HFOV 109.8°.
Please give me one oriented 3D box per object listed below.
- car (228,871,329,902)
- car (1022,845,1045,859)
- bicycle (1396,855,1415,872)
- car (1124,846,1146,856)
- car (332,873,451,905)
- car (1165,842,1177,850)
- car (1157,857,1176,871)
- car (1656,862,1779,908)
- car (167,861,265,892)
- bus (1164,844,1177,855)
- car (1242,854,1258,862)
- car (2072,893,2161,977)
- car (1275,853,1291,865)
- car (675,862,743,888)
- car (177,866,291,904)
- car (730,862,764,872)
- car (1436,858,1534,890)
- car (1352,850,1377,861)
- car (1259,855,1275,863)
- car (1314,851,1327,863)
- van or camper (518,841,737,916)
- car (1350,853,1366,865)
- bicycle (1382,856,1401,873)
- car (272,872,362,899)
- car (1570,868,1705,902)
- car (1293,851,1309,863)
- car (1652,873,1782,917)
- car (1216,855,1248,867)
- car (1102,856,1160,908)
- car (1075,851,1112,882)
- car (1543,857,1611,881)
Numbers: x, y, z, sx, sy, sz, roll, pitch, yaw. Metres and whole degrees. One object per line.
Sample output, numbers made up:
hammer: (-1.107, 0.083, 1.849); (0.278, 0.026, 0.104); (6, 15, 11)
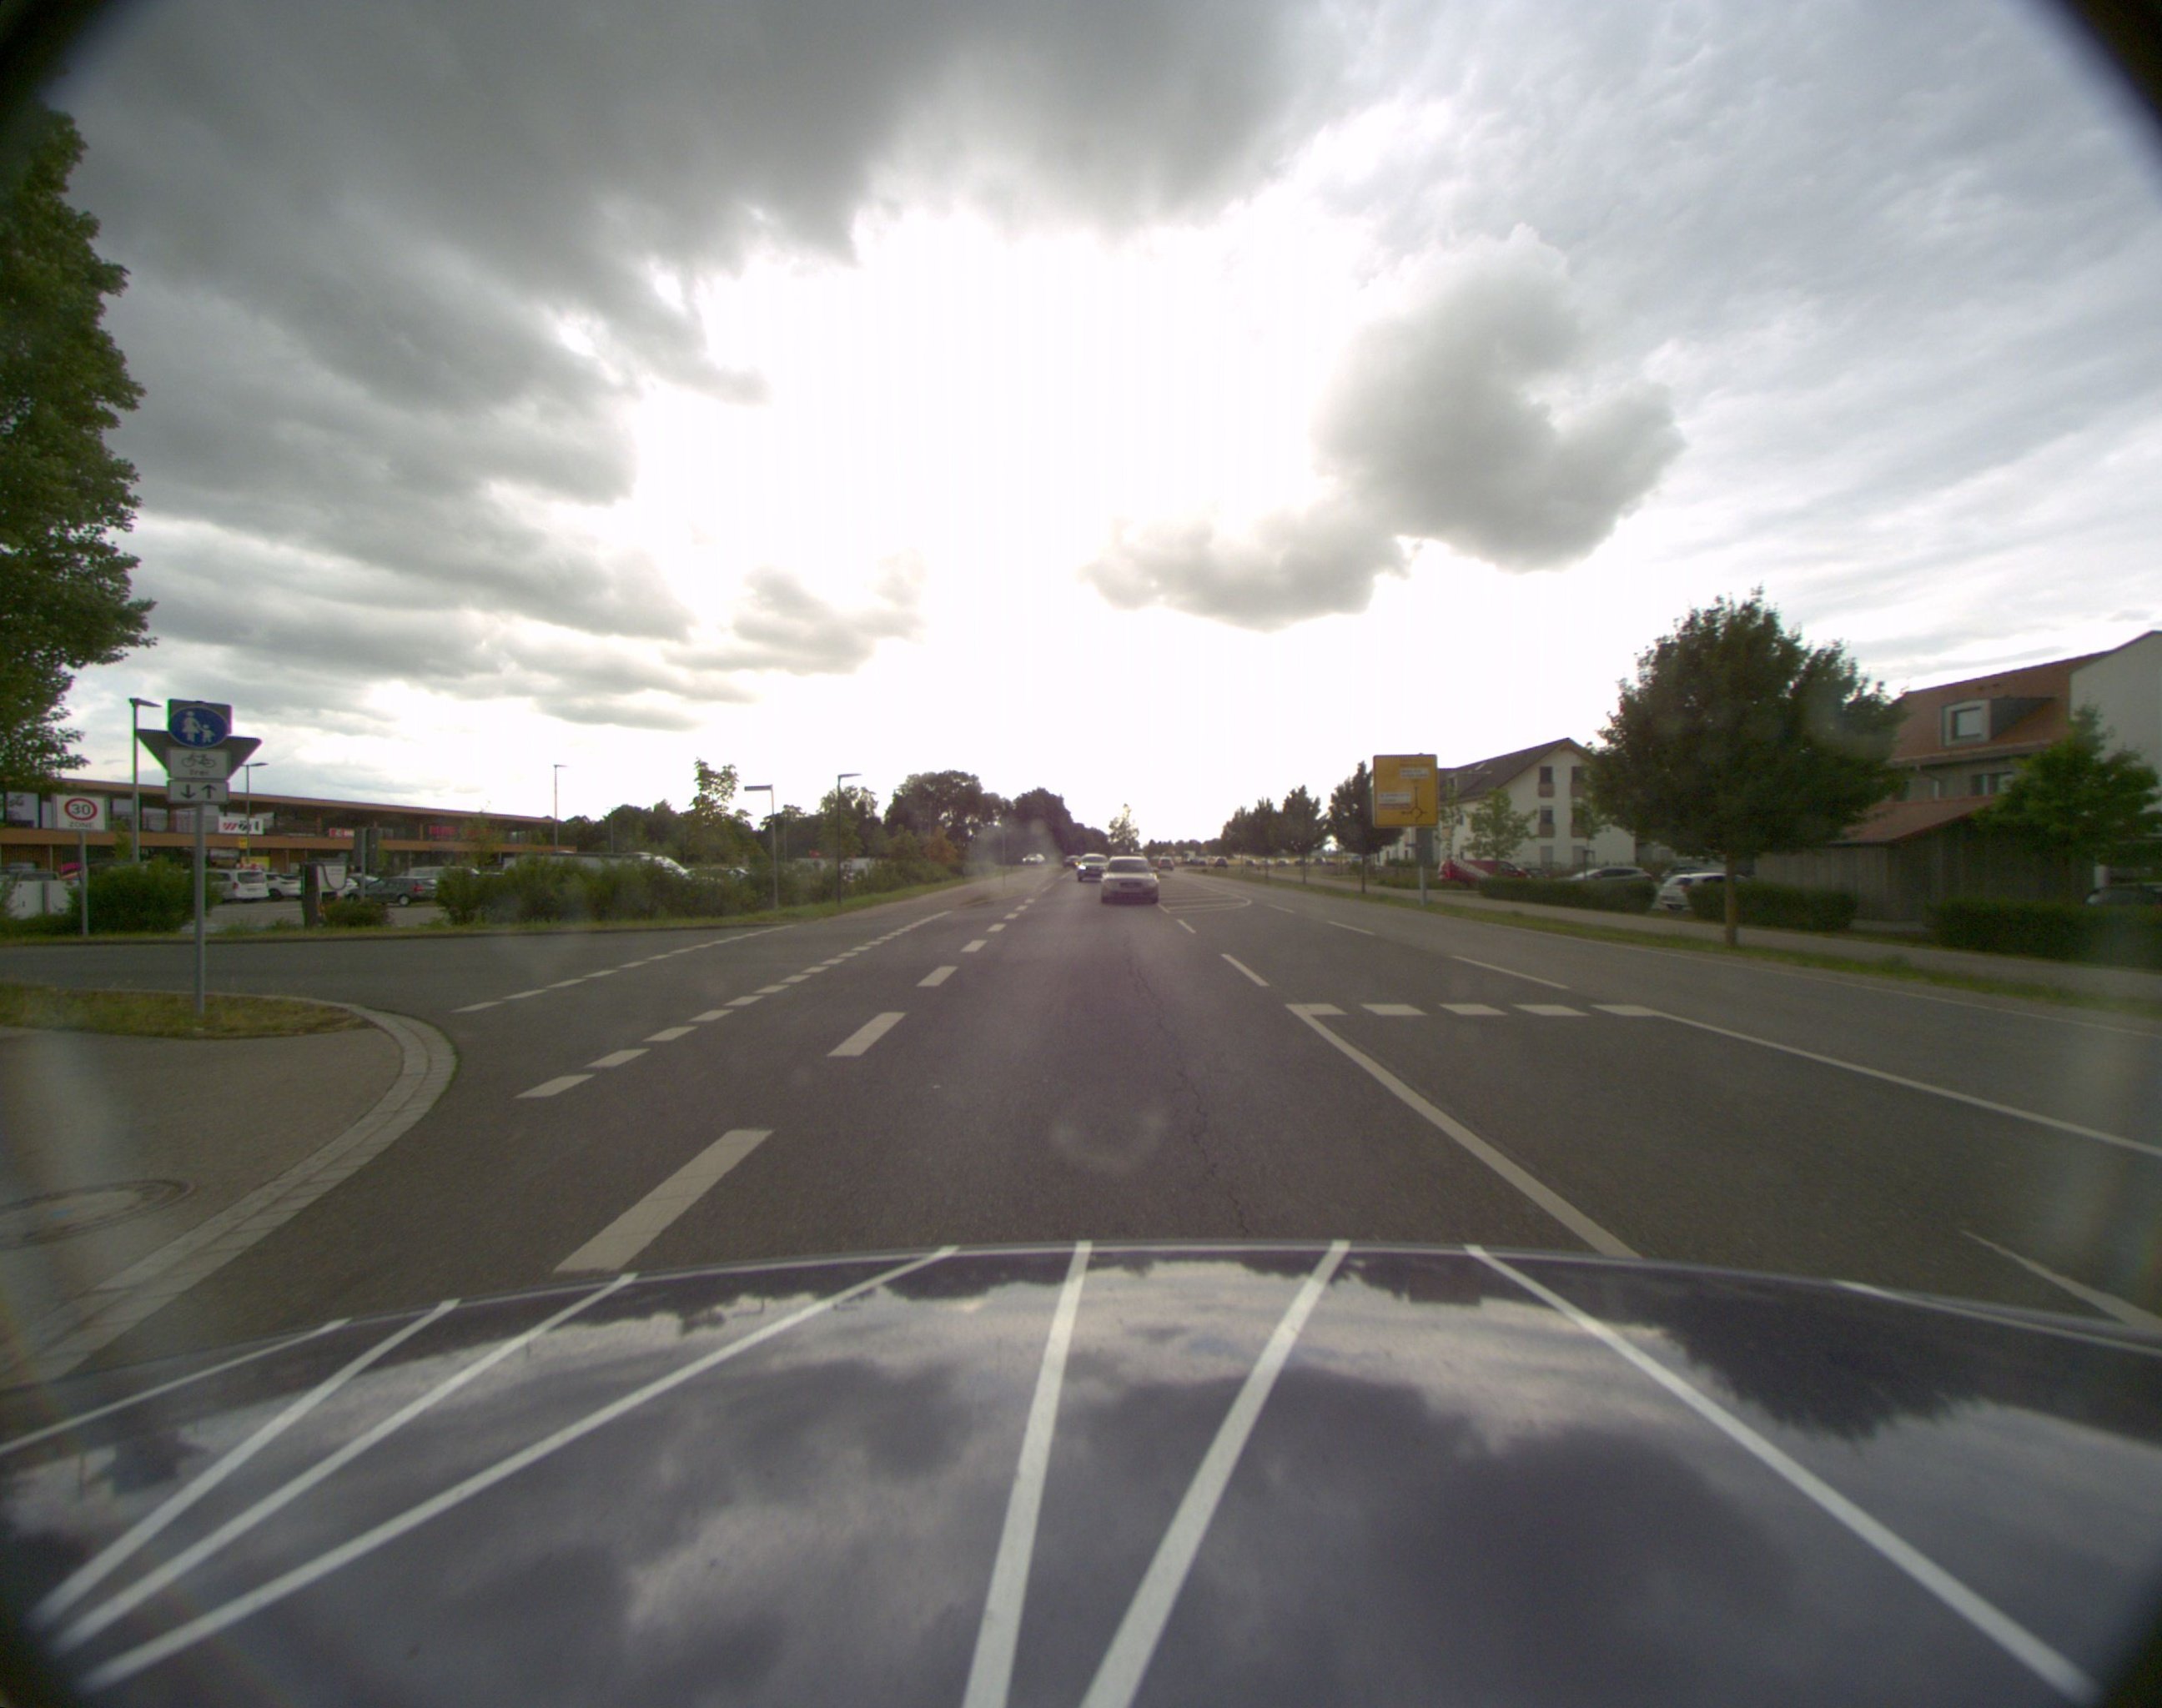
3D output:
car: (-47.031, 1.885, 44.577); (3.746, 1.598, 2.039); (1, 0, 1)
car: (-7.142, -0.262, 114.133); (1.995, 2.002, 4.248); (1, 0, 19)
bicycle: (27.768, 0.779, 65.048); (0.684, 1.409, 2.094); (1, 0, 1)
car: (9.461, -0.586, 132.995); (1.994, 1.674, 4.009); (1, 0, 38)
car: (-34.638, 1.724, 38.262); (4.188, 1.424, 1.902); (1, 0, -1)
car: (17.002, -1.506, 143.395); (1.774, 1.435, 4.000); (1, 0, 1)
car: (9.724, 1.115, 87.000); (1.774, 1.435, 4.000); (1, 0, 1)
car: (31.738, 1.480, 38.150); (1.998, 2.002, 5.202); (-3, 0, 4)
car: (-52.394, 1.326, 46.060); (3.995, 1.739, 1.946); (1, 0, 5)
bus: (28.493, -1.327, 241.126); (2.992, 3.261, 6.482); (1, 0, -3)
car: (30.750, 0.760, 138.103); (1.995, 1.280, 4.008); (1, 0, 26)
car: (23.420, 1.685, 15.364); (3.996, 1.608, 2.000); (1, 0, 2)
car: (36.061, 0.880, 135.599); (1.995, 2.002, 4.008); (1, 0, 26)
car: (-28.729, 1.568, 58.809); (4.269, 1.860, 2.001); (1, 0, 5)
car: (-46.246, 1.652, 41.556); (3.903, 1.900, 2.039); (1, 0, -1)
car: (-45.679, 1.737, 103.936); (1.696, 1.352, 4.008); (1, 0, 28)
car: (24.643, 1.193, 46.501); (4.915, 1.805, 1.907); (1, 0, 6)
car: (55.112, 0.271, 147.598); (4.001, 2.002, 1.998); (1, 0, -11)
car: (33.383, 0.885, 136.589); (1.995, 1.280, 4.008); (1, 0, 26)
car: (41.572, 0.572, 132.165); (1.996, 2.002, 4.005); (1, 0, 16)
van or camper: (-16.300, 0.853, 27.590); (6.483, 2.450, 2.281); (1, 0, -2)
car: (48.083, 0.885, 132.039); (1.994, 2.002, 4.008); (1, 0, 29)
bicycle: (26.742, 0.861, 65.416); (0.684, 1.404, 2.344); (1, 0, 1)
car: (-47.281, 1.940, 47.058); (3.746, 1.469, 1.793); (1, 0, 1)
car: (26.360, 1.436, 36.103); (4.917, 1.422, 1.906); (1, 0, 2)
car: (38.807, 0.531, 133.738); (1.995, 2.002, 4.008); (1, 0, 26)
car: (23.878, 1.527, 28.620); (3.523, 1.480, 1.563); (1, 0, 1)
car: (21.424, 0.966, 107.754); (4.206, 1.573, 1.834); (2, 0, 19)
car: (1.612, 0.829, 24.373); (1.700, 1.458, 4.001); (1, 1, 4)
car: (0.785, 0.666, 43.102); (1.869, 1.578, 5.063); (0, 1, 3)
car: (33.231, 0.979, 51.070); (1.998, 1.499, 4.000); (1, 0, 1)
